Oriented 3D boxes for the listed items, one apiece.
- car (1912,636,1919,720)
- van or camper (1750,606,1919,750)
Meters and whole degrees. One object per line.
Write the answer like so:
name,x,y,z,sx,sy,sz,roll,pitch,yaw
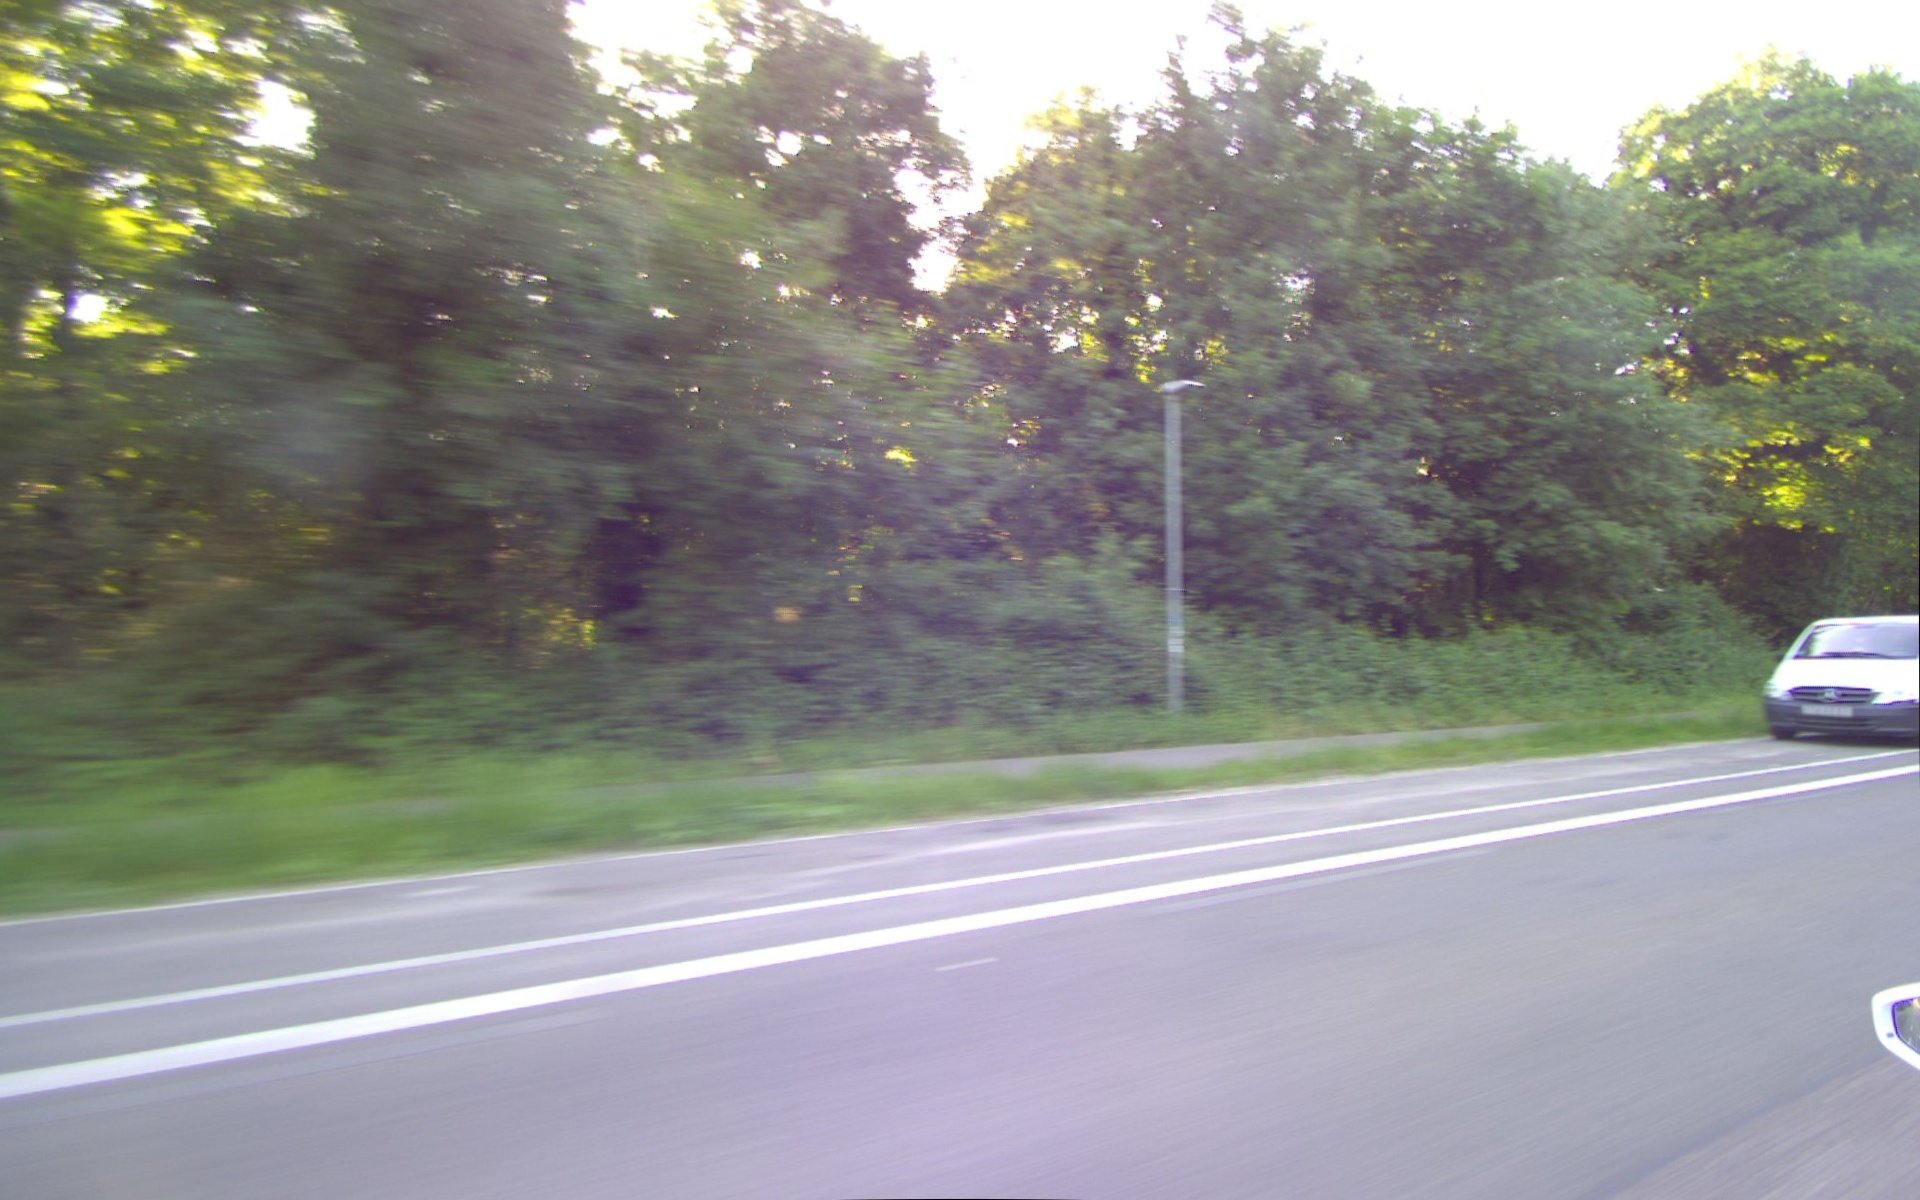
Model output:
car,20.106,1.466,19.084,4.472,1.560,1.766,1,-3,-31
van or camper,14.443,1.137,15.605,4.800,1.936,1.827,1,-3,-31
